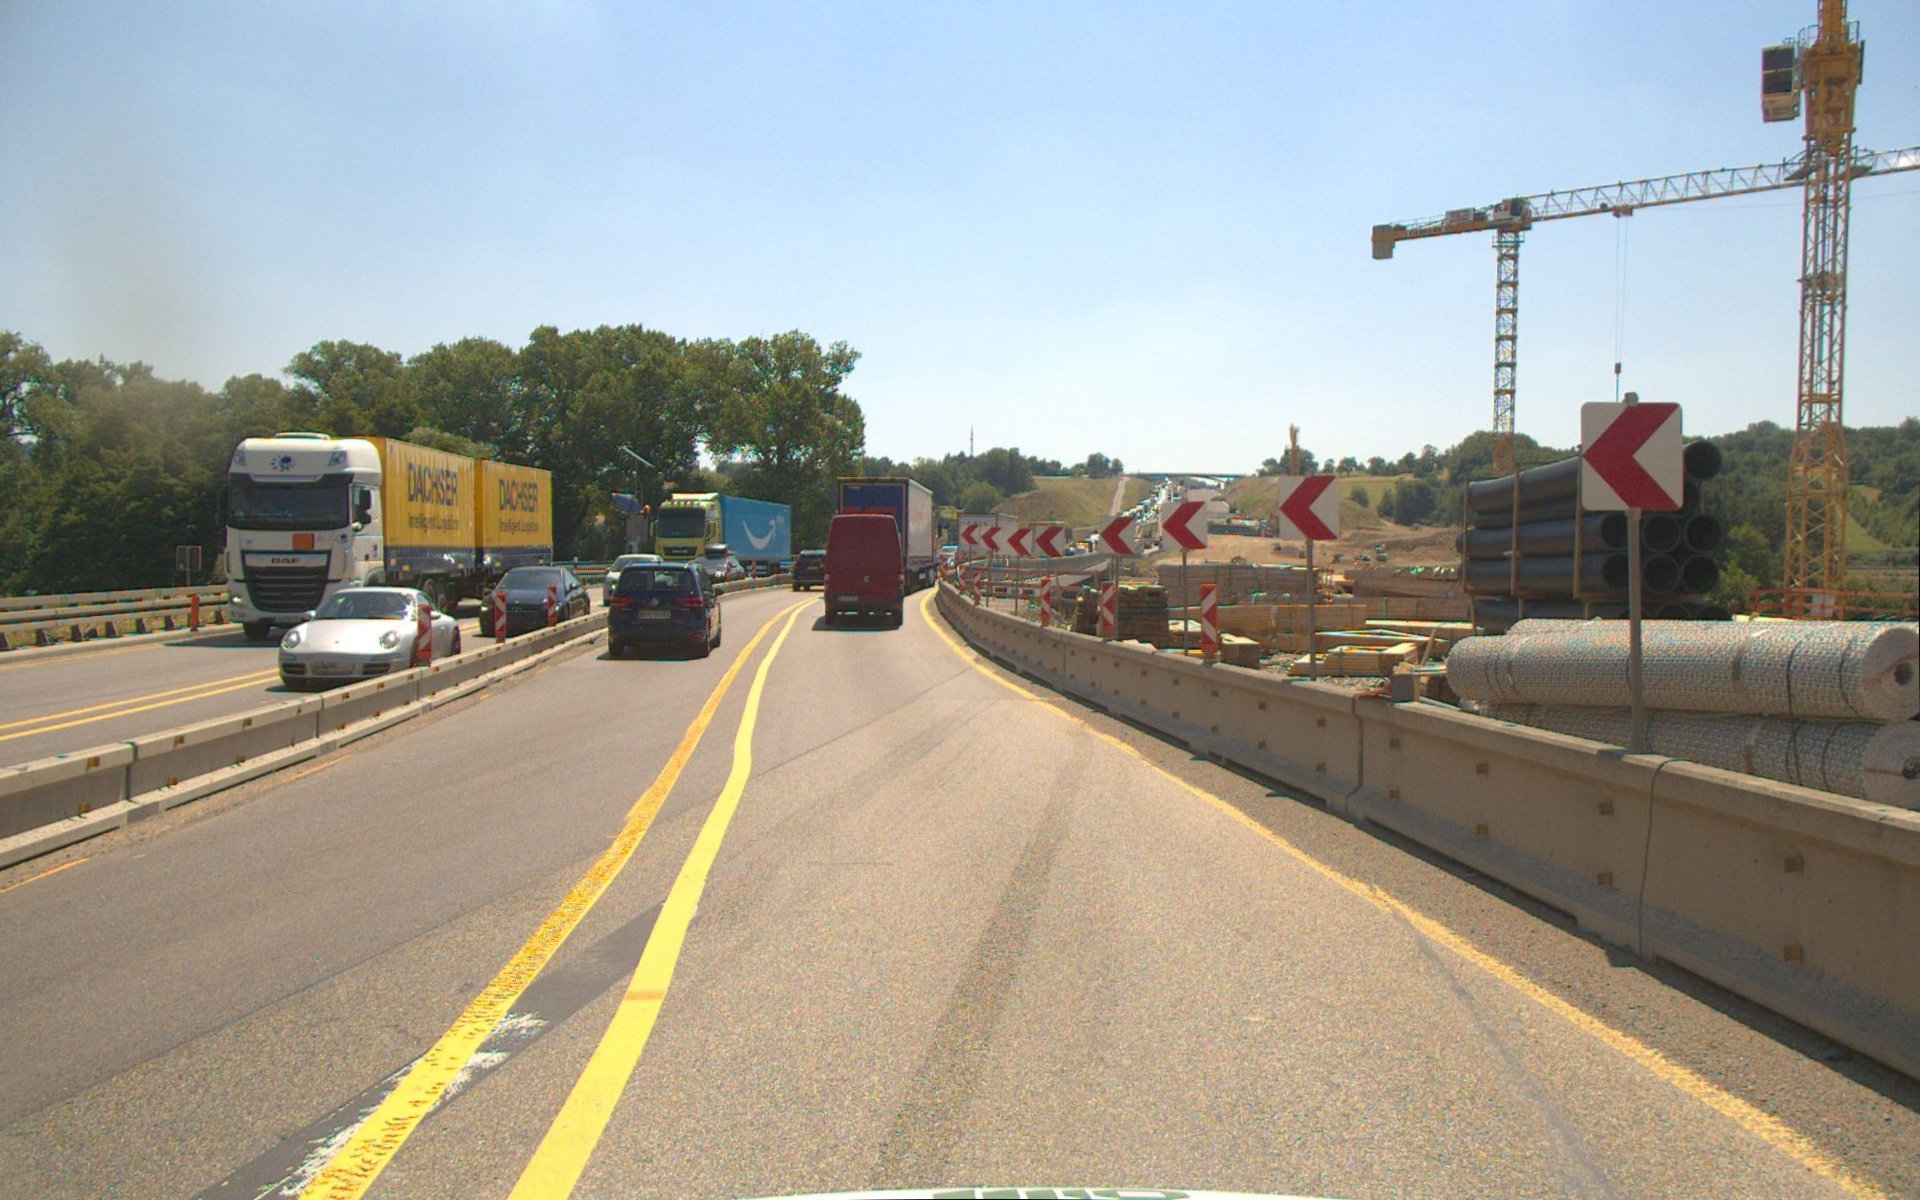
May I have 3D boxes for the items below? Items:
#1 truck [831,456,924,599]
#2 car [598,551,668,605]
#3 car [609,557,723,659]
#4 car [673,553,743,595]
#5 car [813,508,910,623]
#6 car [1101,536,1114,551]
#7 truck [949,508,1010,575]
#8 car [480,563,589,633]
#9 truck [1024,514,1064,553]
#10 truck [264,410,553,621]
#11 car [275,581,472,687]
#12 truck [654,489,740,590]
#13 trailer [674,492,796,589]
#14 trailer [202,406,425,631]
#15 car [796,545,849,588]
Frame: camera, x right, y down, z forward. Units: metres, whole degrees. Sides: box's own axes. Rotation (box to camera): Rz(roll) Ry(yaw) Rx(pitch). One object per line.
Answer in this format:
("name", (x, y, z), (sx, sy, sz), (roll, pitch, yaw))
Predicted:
("truck", (-2.979, -2.651, 61.734), (2.883, 5.031, 6.744), (0, 1, 2))
("car", (-10.110, -0.713, 51.299), (1.604, 1.511, 3.998), (0, 3, -4))
("car", (-5.325, 0.089, 30.394), (1.700, 1.663, 4.385), (1, 2, -5))
("car", (-9.597, -1.023, 63.263), (1.782, 1.460, 4.586), (1, 2, 2))
("car", (-2.573, -0.824, 41.875), (2.109, 2.656, 5.431), (1, 0, -7))
("car", (18.240, -6.960, 204.379), (1.583, 1.729, 3.893), (1, 2, 7))
("truck", (1.311, -3.691, 104.960), (3.114, 4.059, 6.747), (0, 2, 7))
("car", (-9.325, -0.086, 36.553), (1.644, 1.385, 4.498), (1, 2, -6))
("truck", (7.966, -6.204, 155.635), (3.116, 3.029, 8.905), (0, -2, 7))
("truck", (-13.552, -1.940, 42.677), (2.750, 4.418, 15.371), (1, 1, -2))
("car", (-8.244, 0.420, 23.610), (1.644, 1.286, 4.331), (1, 2, -6))
("truck", (-11.799, -2.693, 74.460), (2.569, 4.344, 4.735), (2, 1, 6))
("trailer", (-10.924, -2.815, 81.955), (2.591, 4.367, 13.320), (2, 1, 7))
("trailer", (-13.238, -1.665, 34.347), (2.809, 4.302, 5.216), (0, 2, -4))
("car", (-5.504, -1.338, 66.739), (1.796, 1.664, 4.389), (0, 0, -1))
